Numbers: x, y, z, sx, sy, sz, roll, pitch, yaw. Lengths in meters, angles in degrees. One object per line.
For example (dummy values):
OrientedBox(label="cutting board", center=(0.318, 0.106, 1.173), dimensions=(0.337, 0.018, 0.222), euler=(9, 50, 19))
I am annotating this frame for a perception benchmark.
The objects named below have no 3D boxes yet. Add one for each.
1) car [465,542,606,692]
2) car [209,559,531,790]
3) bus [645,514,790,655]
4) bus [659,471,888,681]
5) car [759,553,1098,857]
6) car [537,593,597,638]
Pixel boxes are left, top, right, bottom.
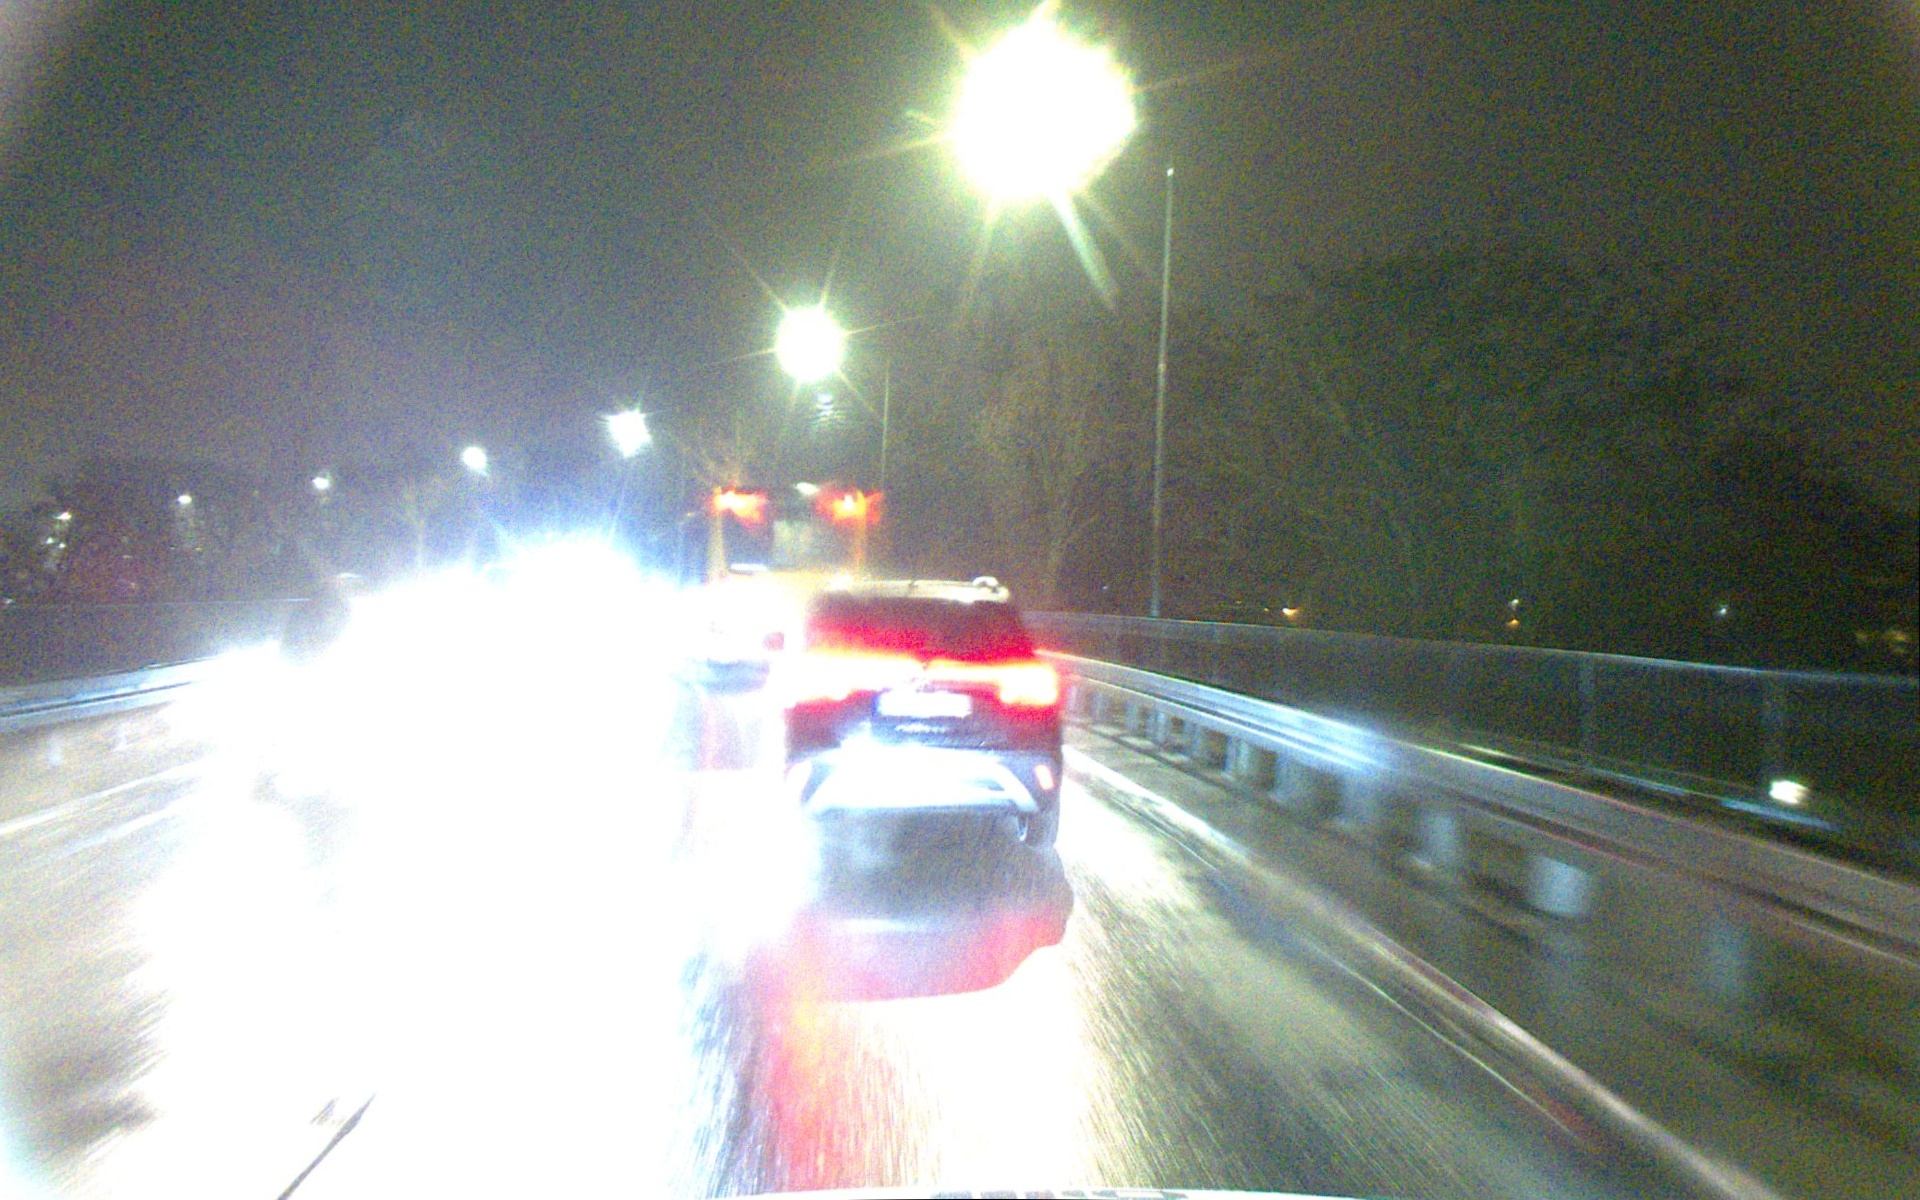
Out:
OrientedBox(label="car", center=(-6.850, 0.244, 27.145), dimensions=(2.008, 2.208, 5.138), euler=(-1, 0, -12))
OrientedBox(label="car", center=(-4.790, 0.490, 13.994), dimensions=(1.759, 1.659, 3.986), euler=(0, 1, -8))
OrientedBox(label="bus", center=(-6.273, -0.474, 41.715), dimensions=(2.996, 3.186, 8.053), euler=(0, 2, -13))
OrientedBox(label="bus", center=(-3.969, -0.433, 31.607), dimensions=(3.030, 3.187, 12.657), euler=(-1, 1, -12))
OrientedBox(label="car", center=(-0.331, 0.558, 10.873), dimensions=(1.819, 1.614, 3.996), euler=(0, 0, -5))
OrientedBox(label="car", center=(-15.973, 0.645, 67.088), dimensions=(1.615, 1.684, 3.680), euler=(-2, -1, -25))
